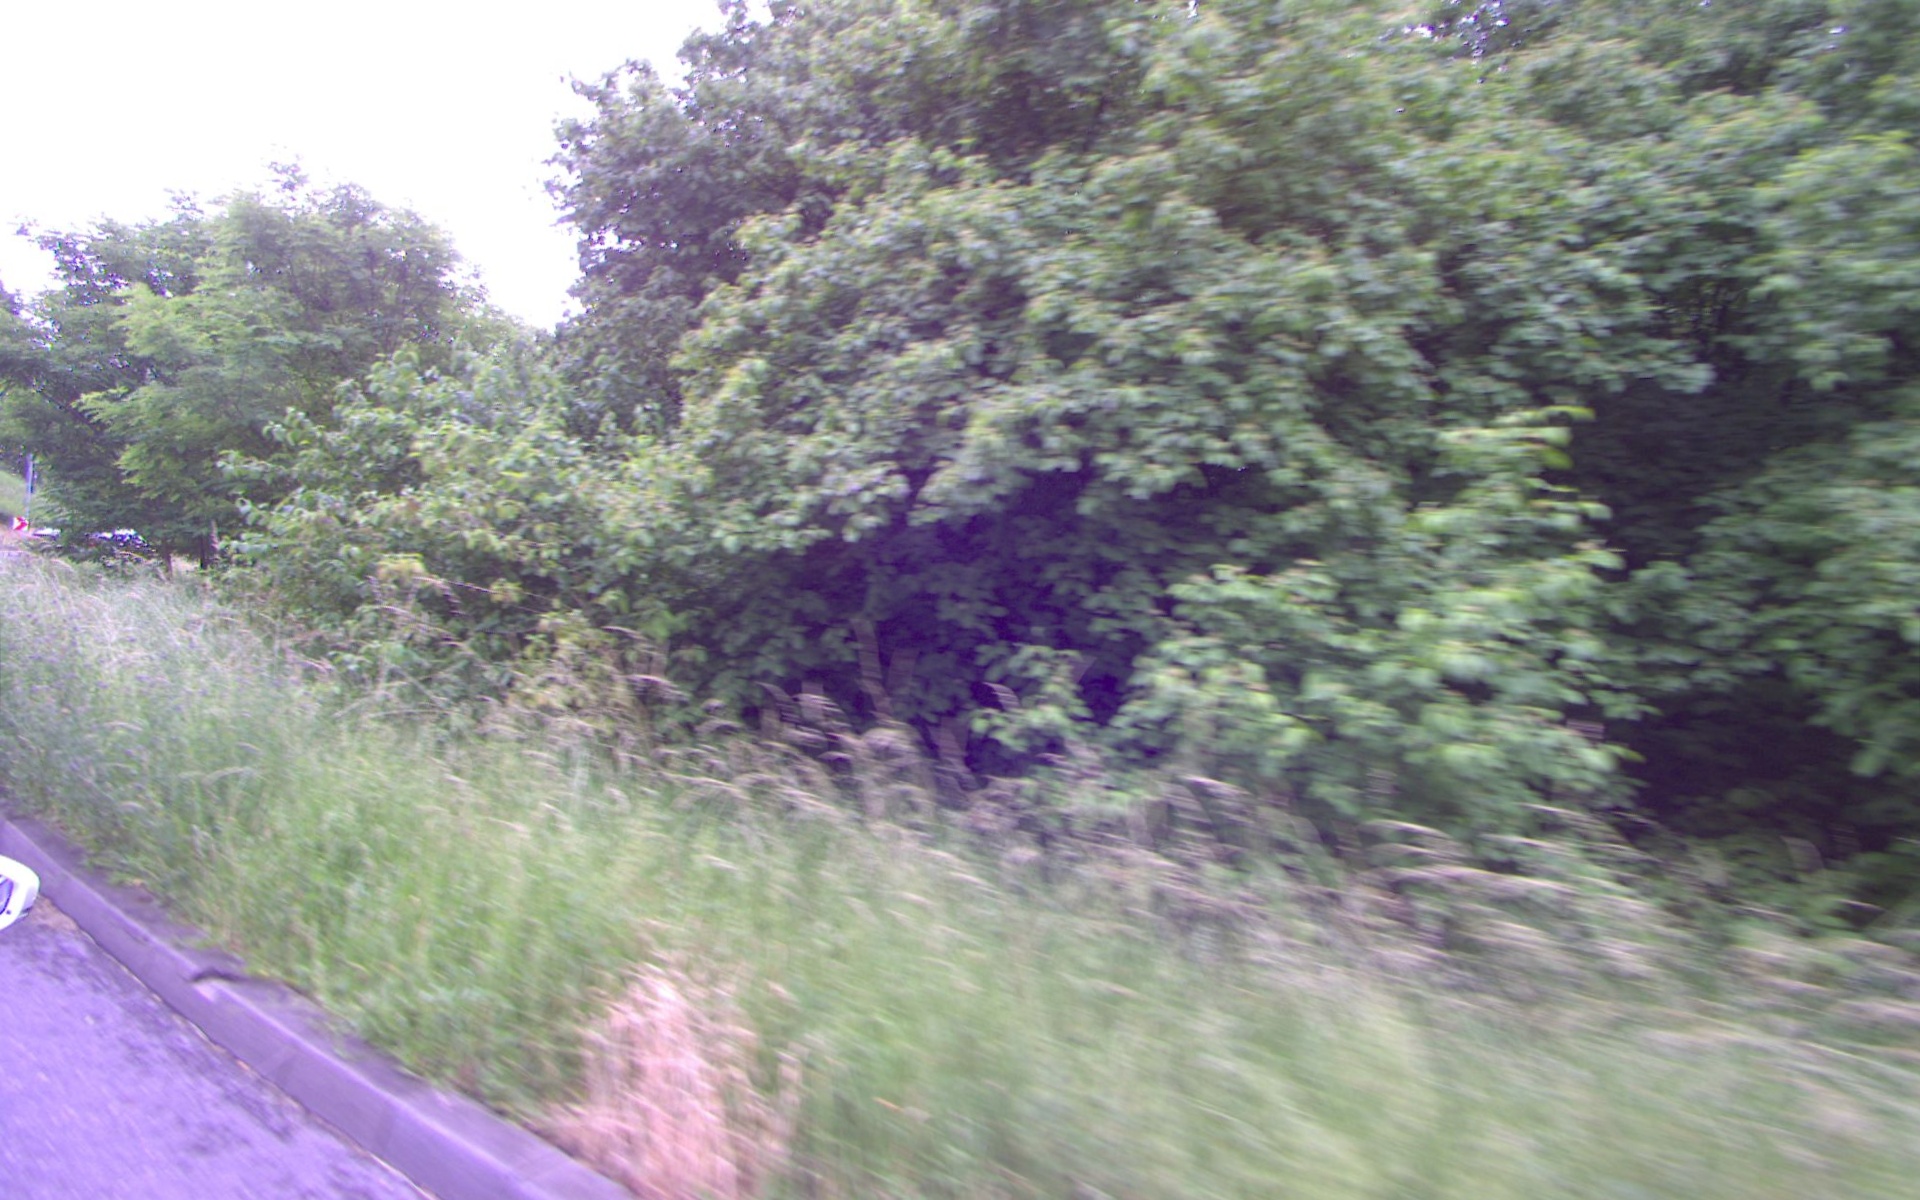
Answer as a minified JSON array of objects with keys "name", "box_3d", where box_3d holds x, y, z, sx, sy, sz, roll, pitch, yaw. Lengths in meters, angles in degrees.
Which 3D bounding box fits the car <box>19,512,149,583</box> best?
[{"name":"car","box_3d":[-23.229,-1.403,26.828,1.888,1.483,3.966,9,-1,-33]}]
